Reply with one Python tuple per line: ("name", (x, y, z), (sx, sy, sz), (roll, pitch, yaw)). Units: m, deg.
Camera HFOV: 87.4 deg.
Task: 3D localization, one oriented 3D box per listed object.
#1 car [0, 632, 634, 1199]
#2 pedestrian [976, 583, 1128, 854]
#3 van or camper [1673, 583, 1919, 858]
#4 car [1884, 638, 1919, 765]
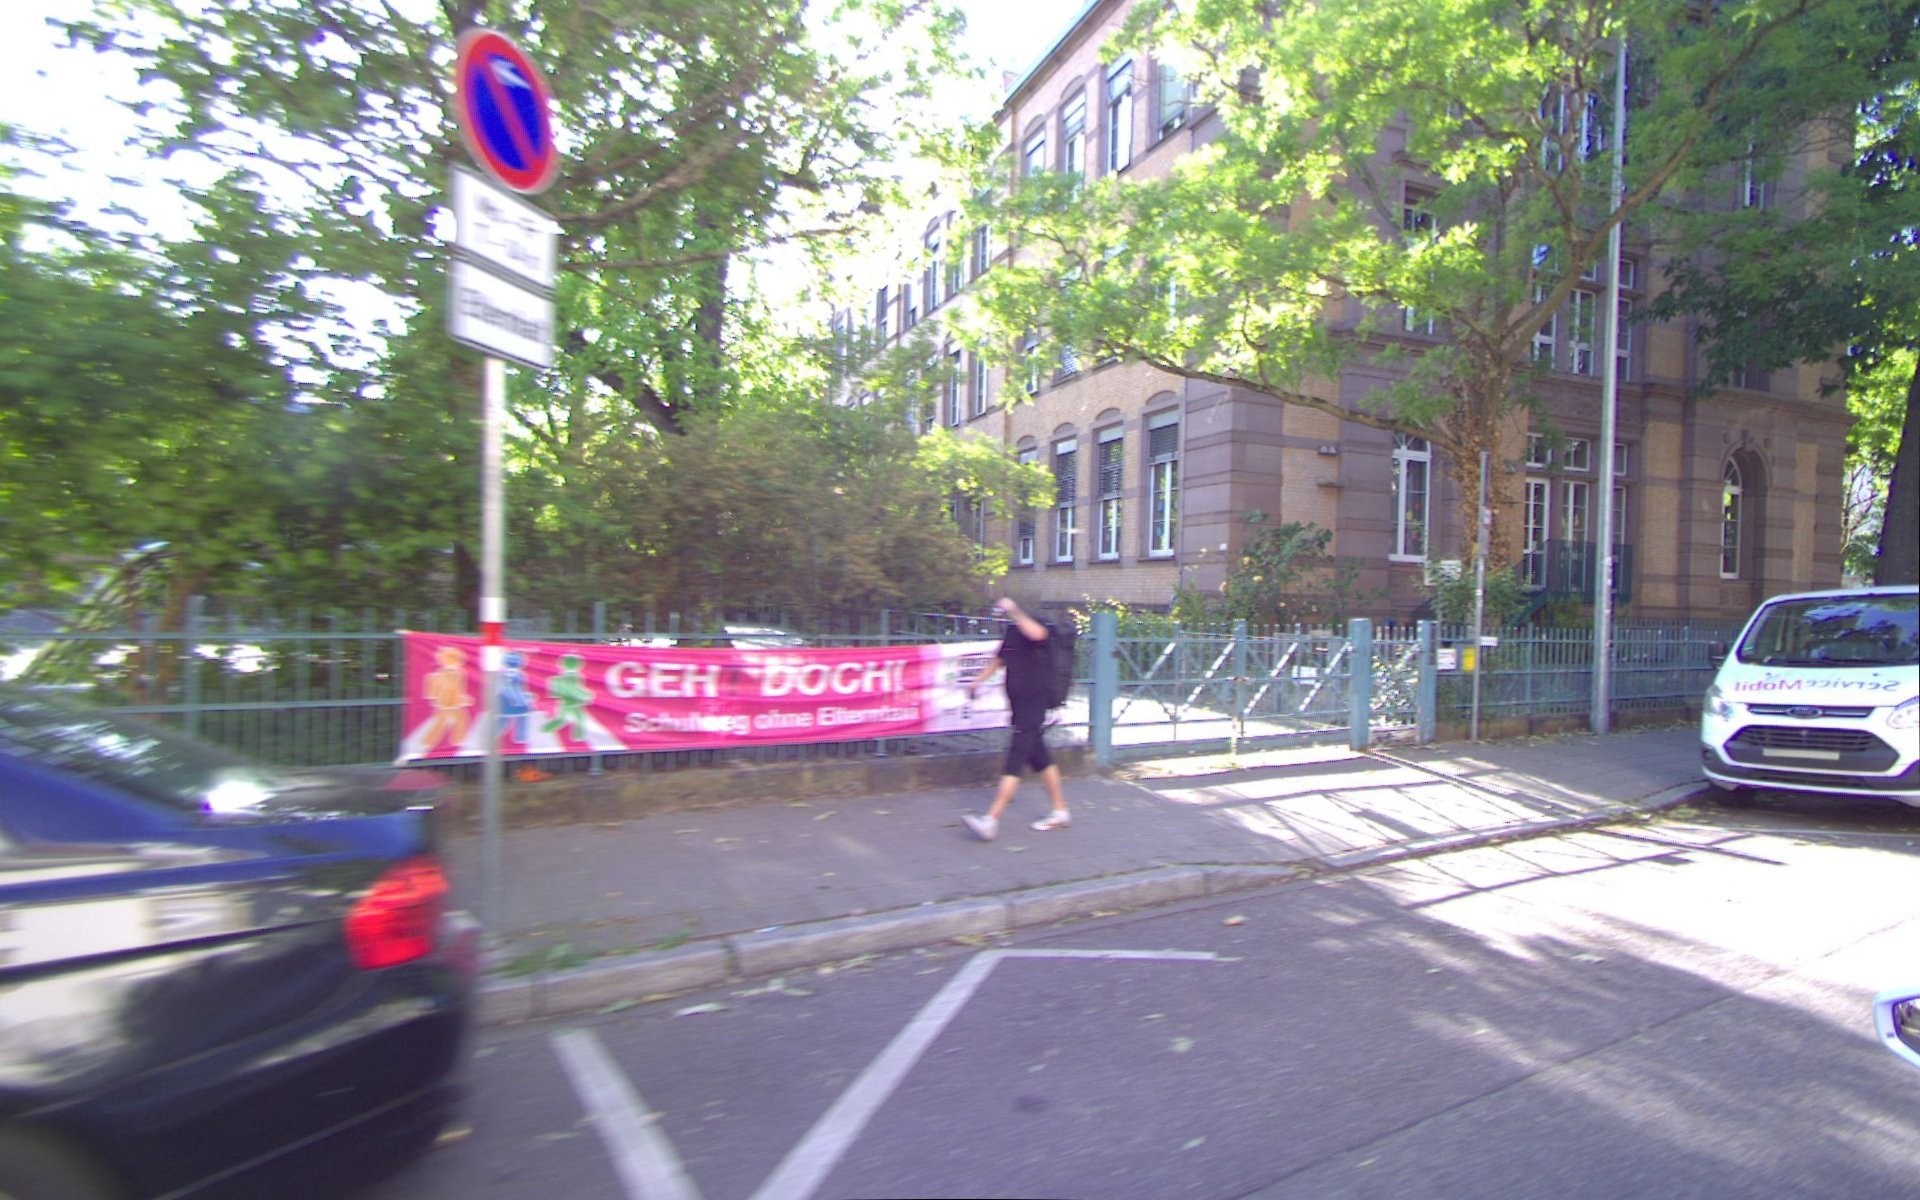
("car", (-3.142, 0.776, 1.610), (4.728, 1.413, 1.704), (2, -4, -33))
("pedestrian", (0.570, 0.703, 6.443), (0.523, 1.598, 0.877), (1, 1, -30))
("van or camper", (8.967, 0.977, 9.349), (5.403, 2.005, 1.911), (2, -3, -33))
("car", (13.514, 1.218, 12.368), (4.554, 1.476, 1.990), (1, -2, -32))
